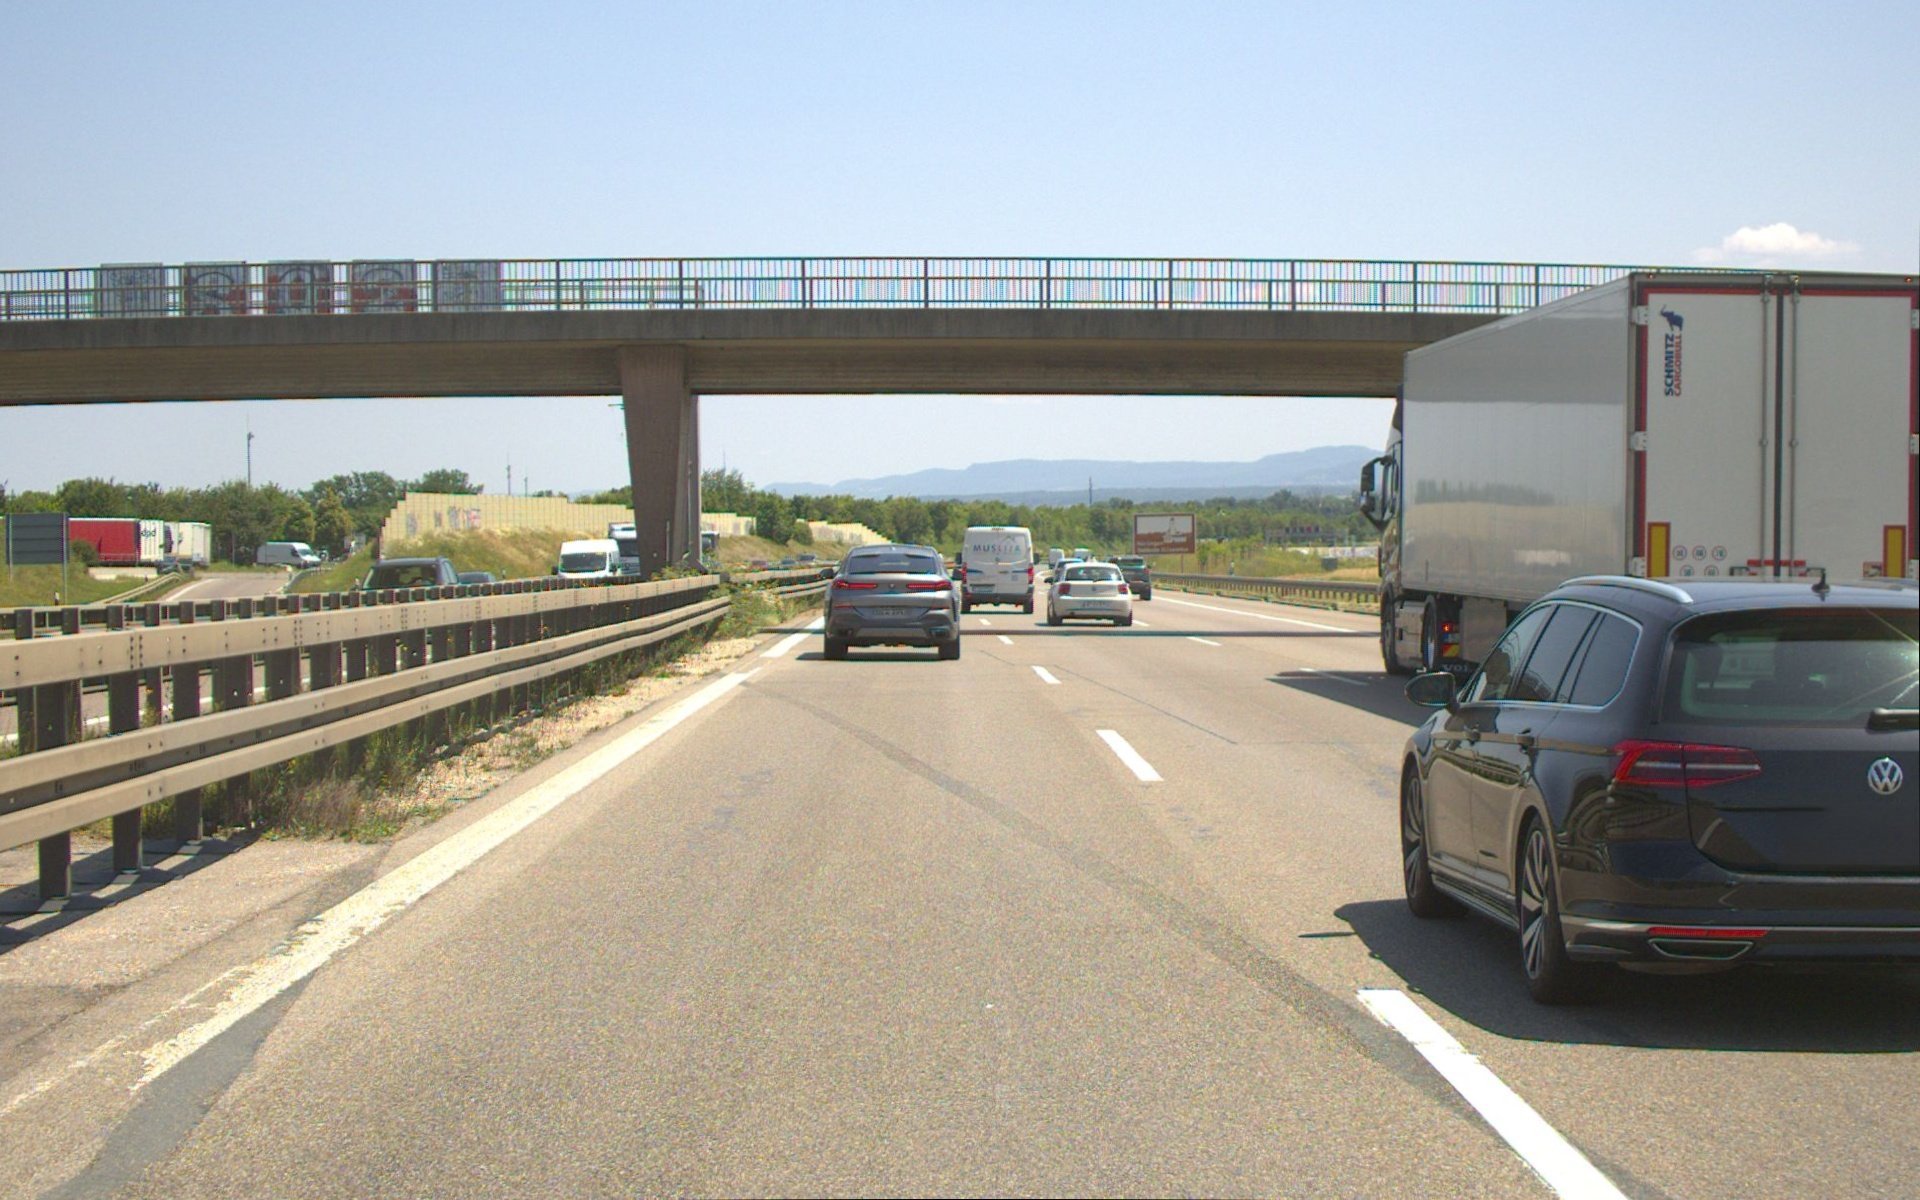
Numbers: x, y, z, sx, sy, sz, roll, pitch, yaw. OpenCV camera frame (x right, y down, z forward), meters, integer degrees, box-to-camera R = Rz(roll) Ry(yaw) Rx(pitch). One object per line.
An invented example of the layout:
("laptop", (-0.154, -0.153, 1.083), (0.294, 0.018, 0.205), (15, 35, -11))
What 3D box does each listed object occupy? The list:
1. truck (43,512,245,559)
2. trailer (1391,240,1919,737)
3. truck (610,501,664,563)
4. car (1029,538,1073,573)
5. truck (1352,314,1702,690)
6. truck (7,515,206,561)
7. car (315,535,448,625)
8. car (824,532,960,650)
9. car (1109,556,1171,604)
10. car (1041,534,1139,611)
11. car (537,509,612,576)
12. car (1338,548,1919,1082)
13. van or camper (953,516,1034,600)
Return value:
("truck", (-57.219, -4.499, 241.447), (14.418, 3.129, 2.660), (0, 1, -44))
("trailer", (6.909, -1.062, 35.963), (2.943, 4.183, 13.597), (1, 1, 0))
("truck", (-19.555, -4.126, 208.276), (2.739, 3.666, 5.898), (1, 1, 0))
("car", (4.425, -2.197, 167.941), (1.993, 1.677, 4.000), (1, 1, 0))
("truck", (6.859, -1.177, 42.796), (2.979, 4.213, 7.688), (1, 1, 0))
("truck", (-61.341, -4.424, 247.547), (14.418, 3.129, 2.660), (0, 1, -44))
("car", (-10.720, -0.396, 63.921), (1.838, 1.594, 4.000), (0, 1, -1))
("car", (-1.044, -0.167, 50.781), (1.851, 1.658, 3.735), (1, 1, -3))
("car", (6.528, -0.728, 124.782), (1.993, 1.677, 4.000), (1, 1, 0))
("car", (2.900, -0.639, 77.252), (1.993, 1.677, 4.000), (1, 1, 0))
("car", (-14.710, -2.203, 131.483), (2.199, 2.500, 6.331), (1, 1, -1))
("car", (2.688, 0.609, 12.725), (1.933, 1.569, 4.935), (1, 1, -1))
("van or camper", (0.881, -1.163, 94.008), (2.110, 2.204, 5.266), (1, 1, 0))
